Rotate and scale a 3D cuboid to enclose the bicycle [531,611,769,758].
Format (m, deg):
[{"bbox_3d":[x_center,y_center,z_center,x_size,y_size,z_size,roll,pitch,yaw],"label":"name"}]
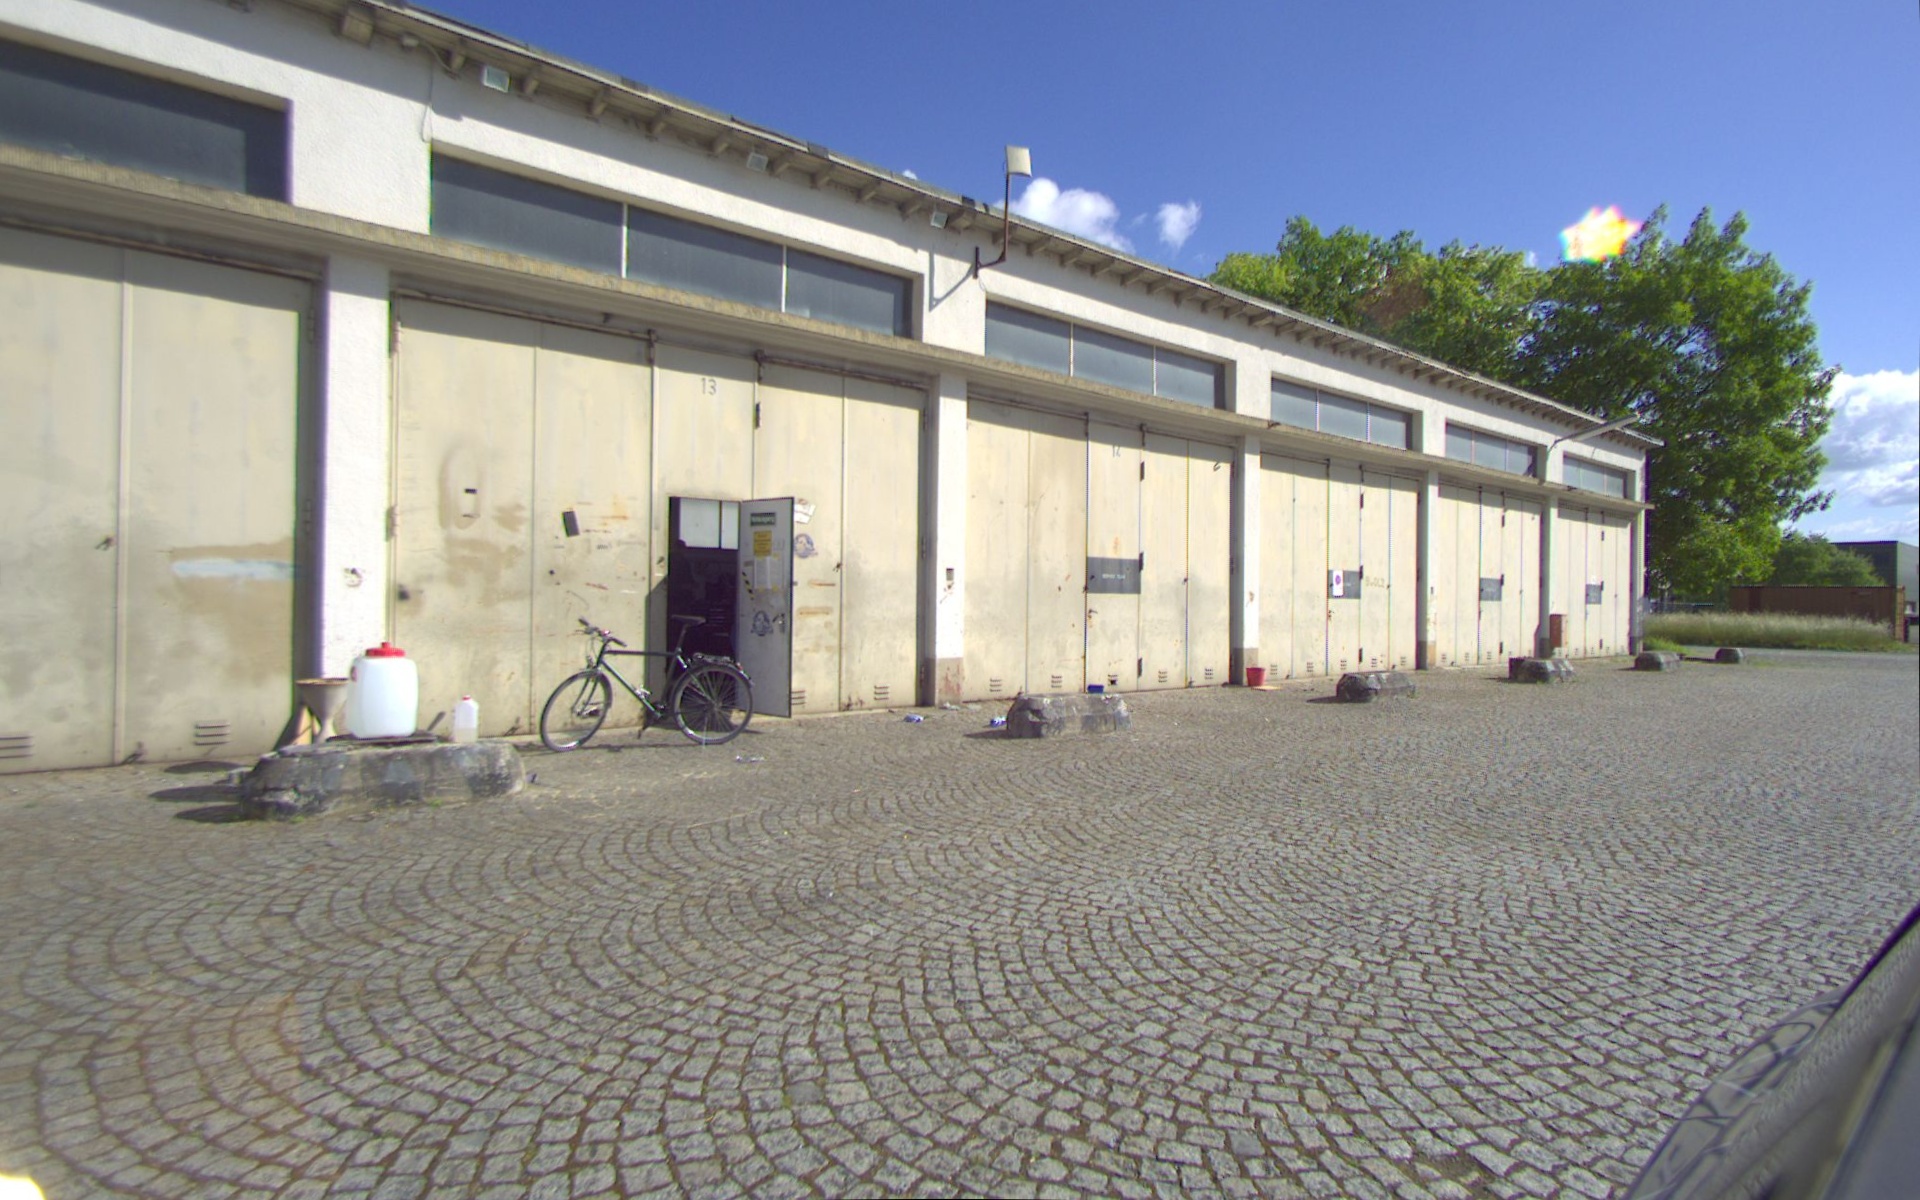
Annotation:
[{"bbox_3d":[-2.549,0.649,8.367,1.787,1.081,0.667,0,0,-28],"label":"bicycle"}]
